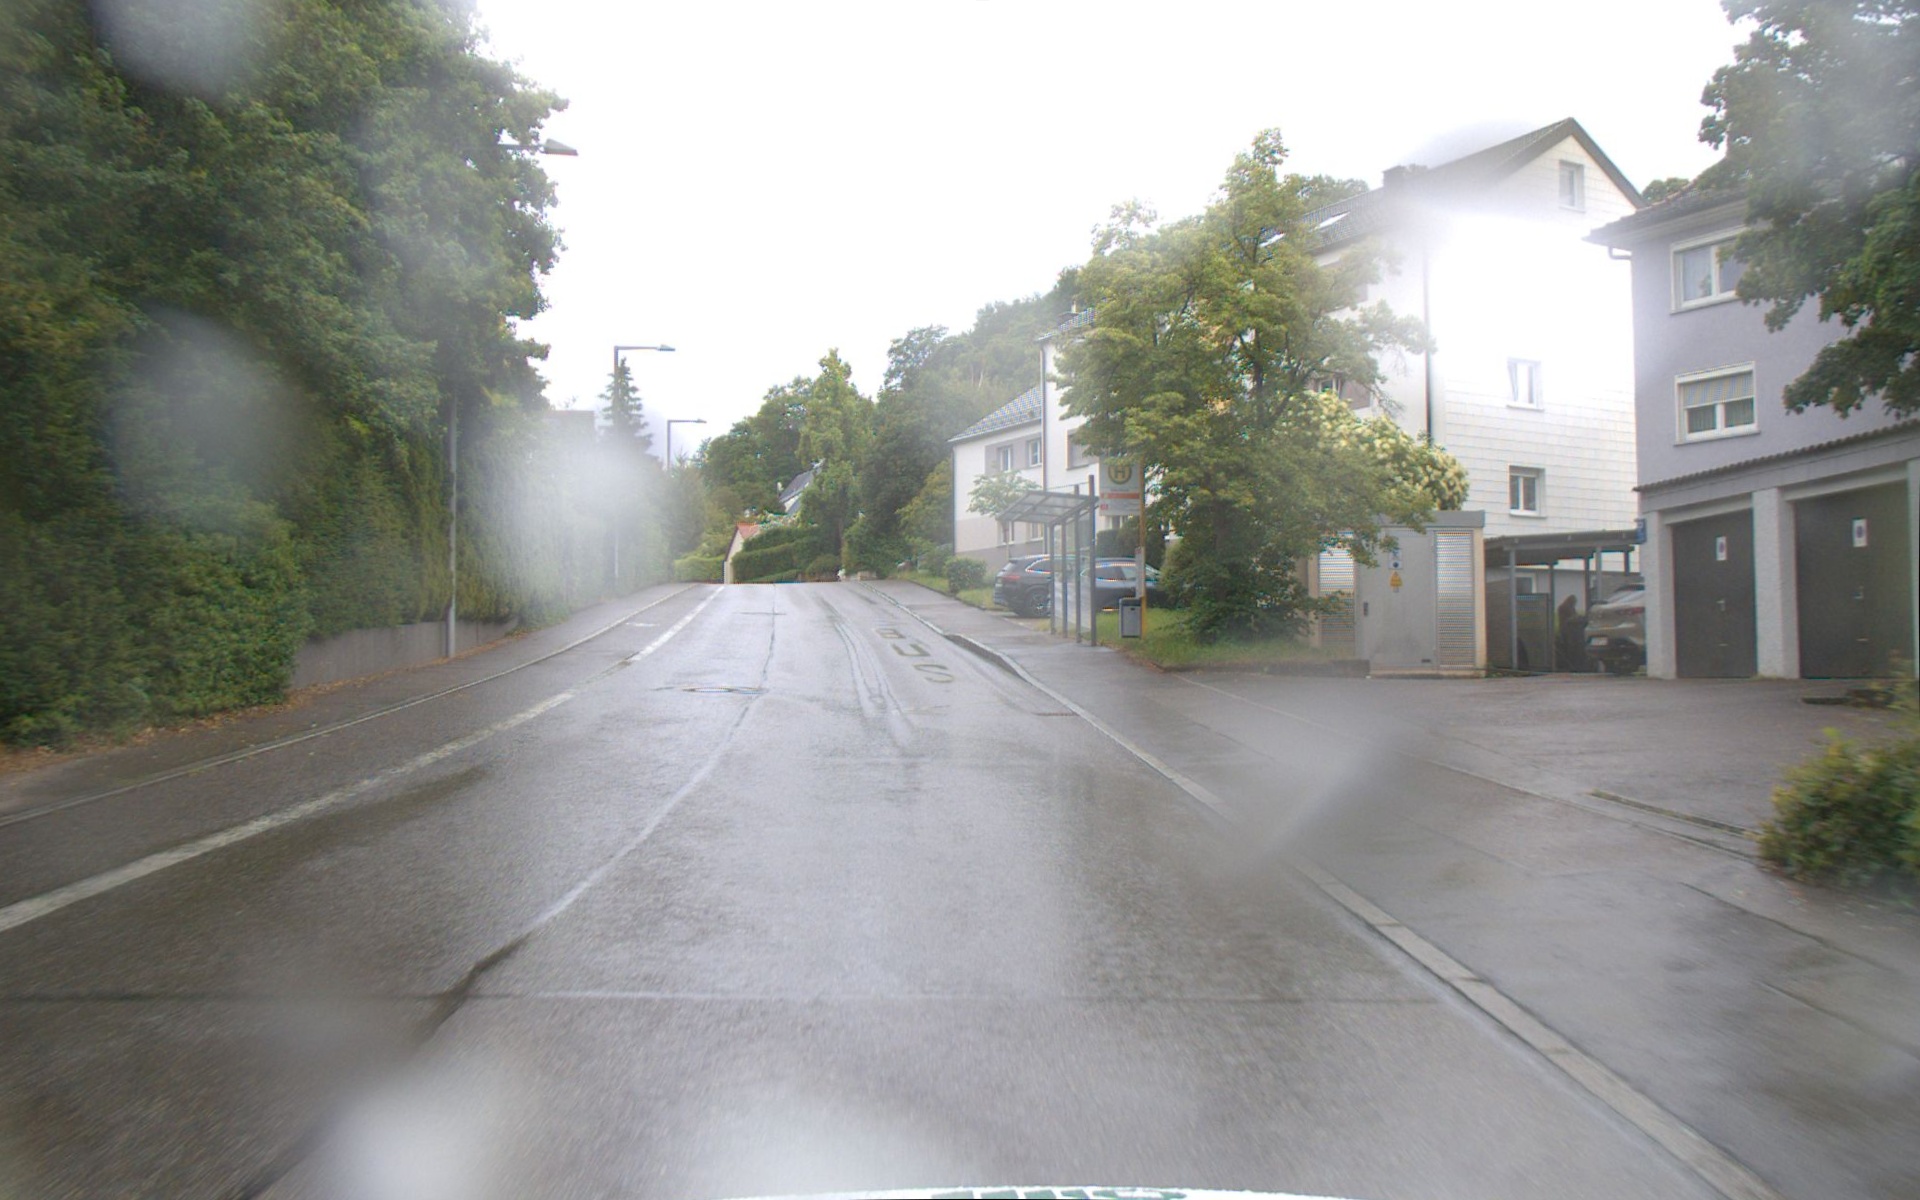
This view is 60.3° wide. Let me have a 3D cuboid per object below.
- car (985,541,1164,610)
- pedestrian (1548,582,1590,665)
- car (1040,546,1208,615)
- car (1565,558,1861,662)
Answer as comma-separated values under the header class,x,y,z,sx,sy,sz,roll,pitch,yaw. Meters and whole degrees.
class,x,y,z,sx,sy,sz,roll,pitch,yaw
car,3.050,-0.688,44.452,4.447,1.689,1.850,-2,3,-13
pedestrian,12.401,0.470,33.686,0.569,1.664,0.615,1,1,-6
car,3.864,-0.494,39.354,3.673,1.483,1.722,-2,3,-8
car,11.292,0.168,24.946,3.628,1.456,1.794,-1,-2,-6
